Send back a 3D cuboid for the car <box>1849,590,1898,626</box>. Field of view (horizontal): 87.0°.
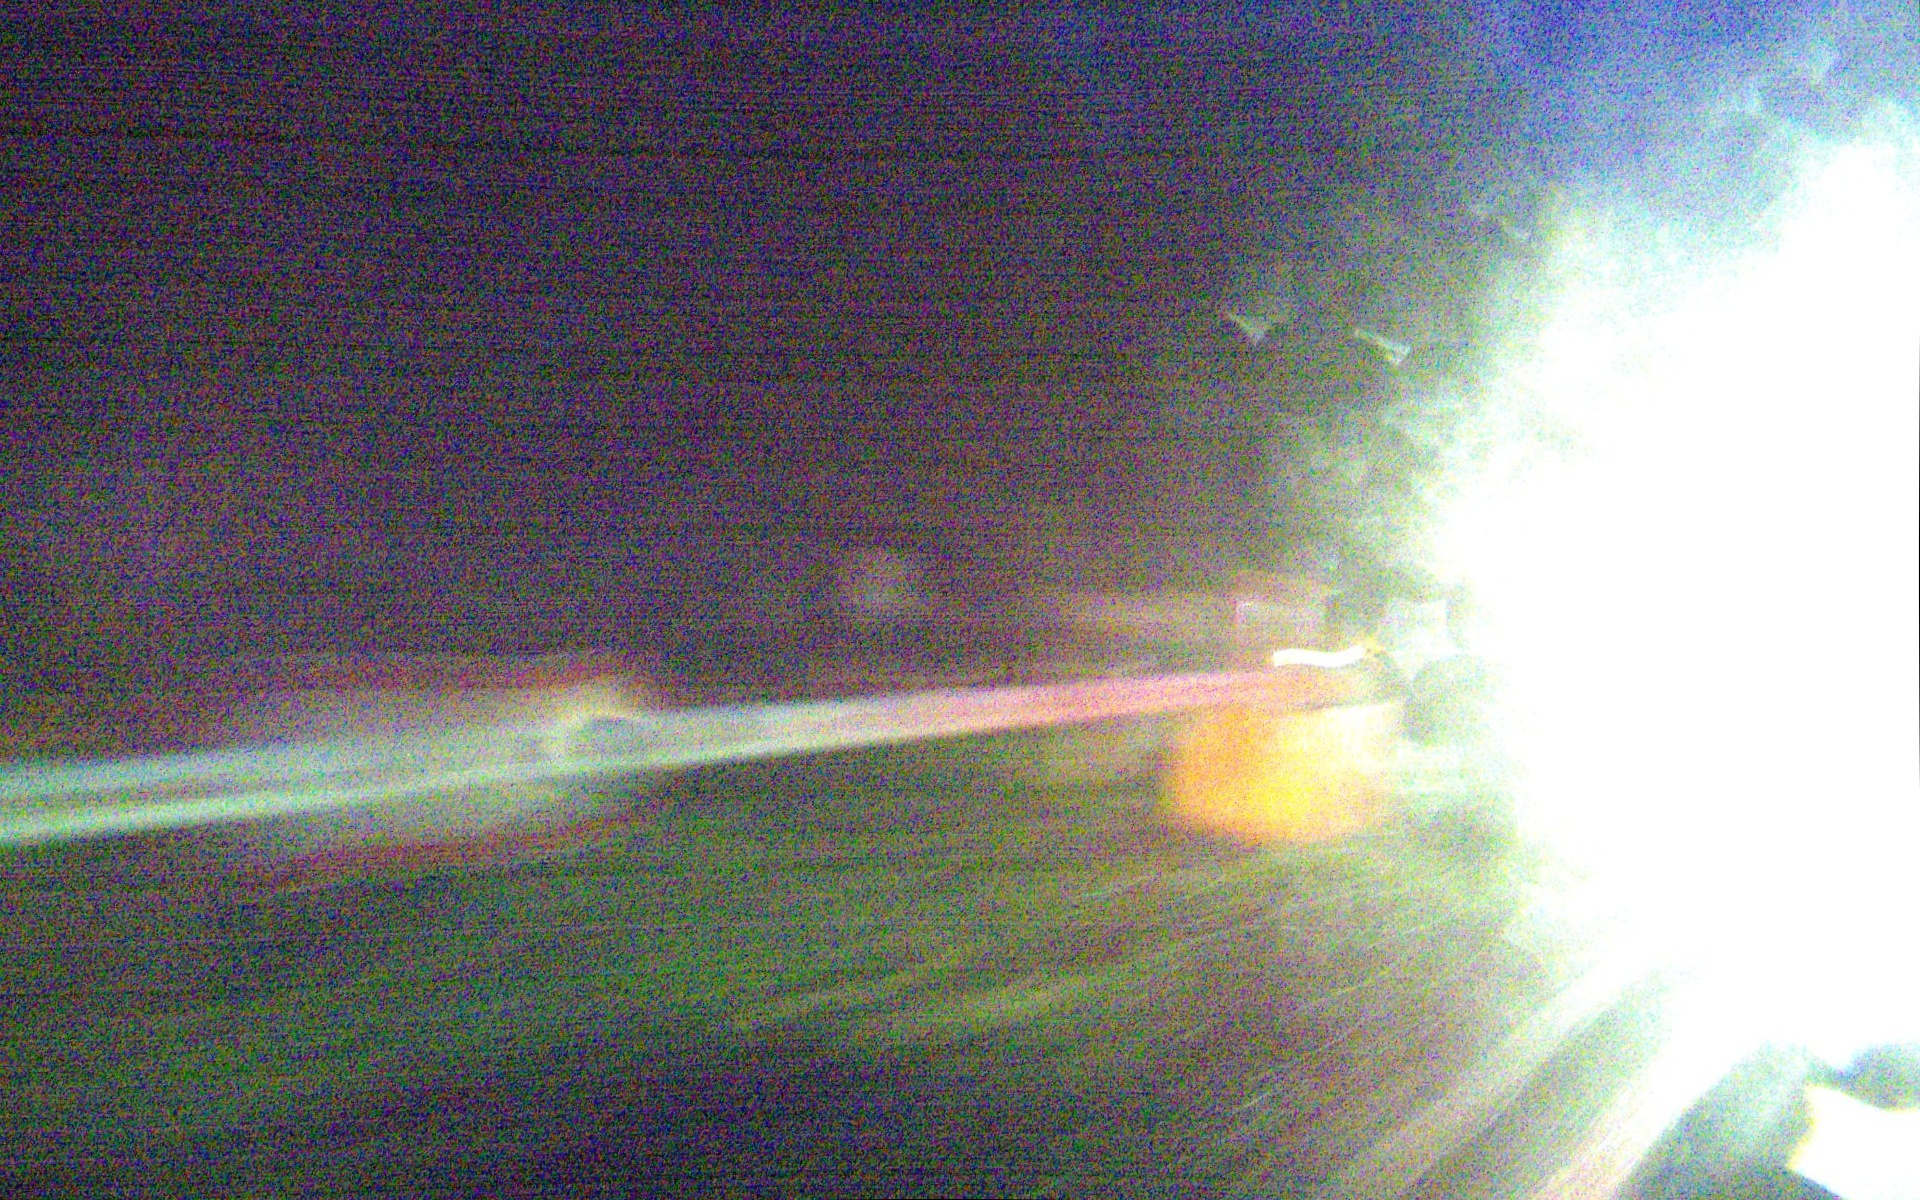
[{"bbox_3d":[46.956,0.380,52.060,1.702,1.794,3.942,0,1,40],"label":"car"}]
